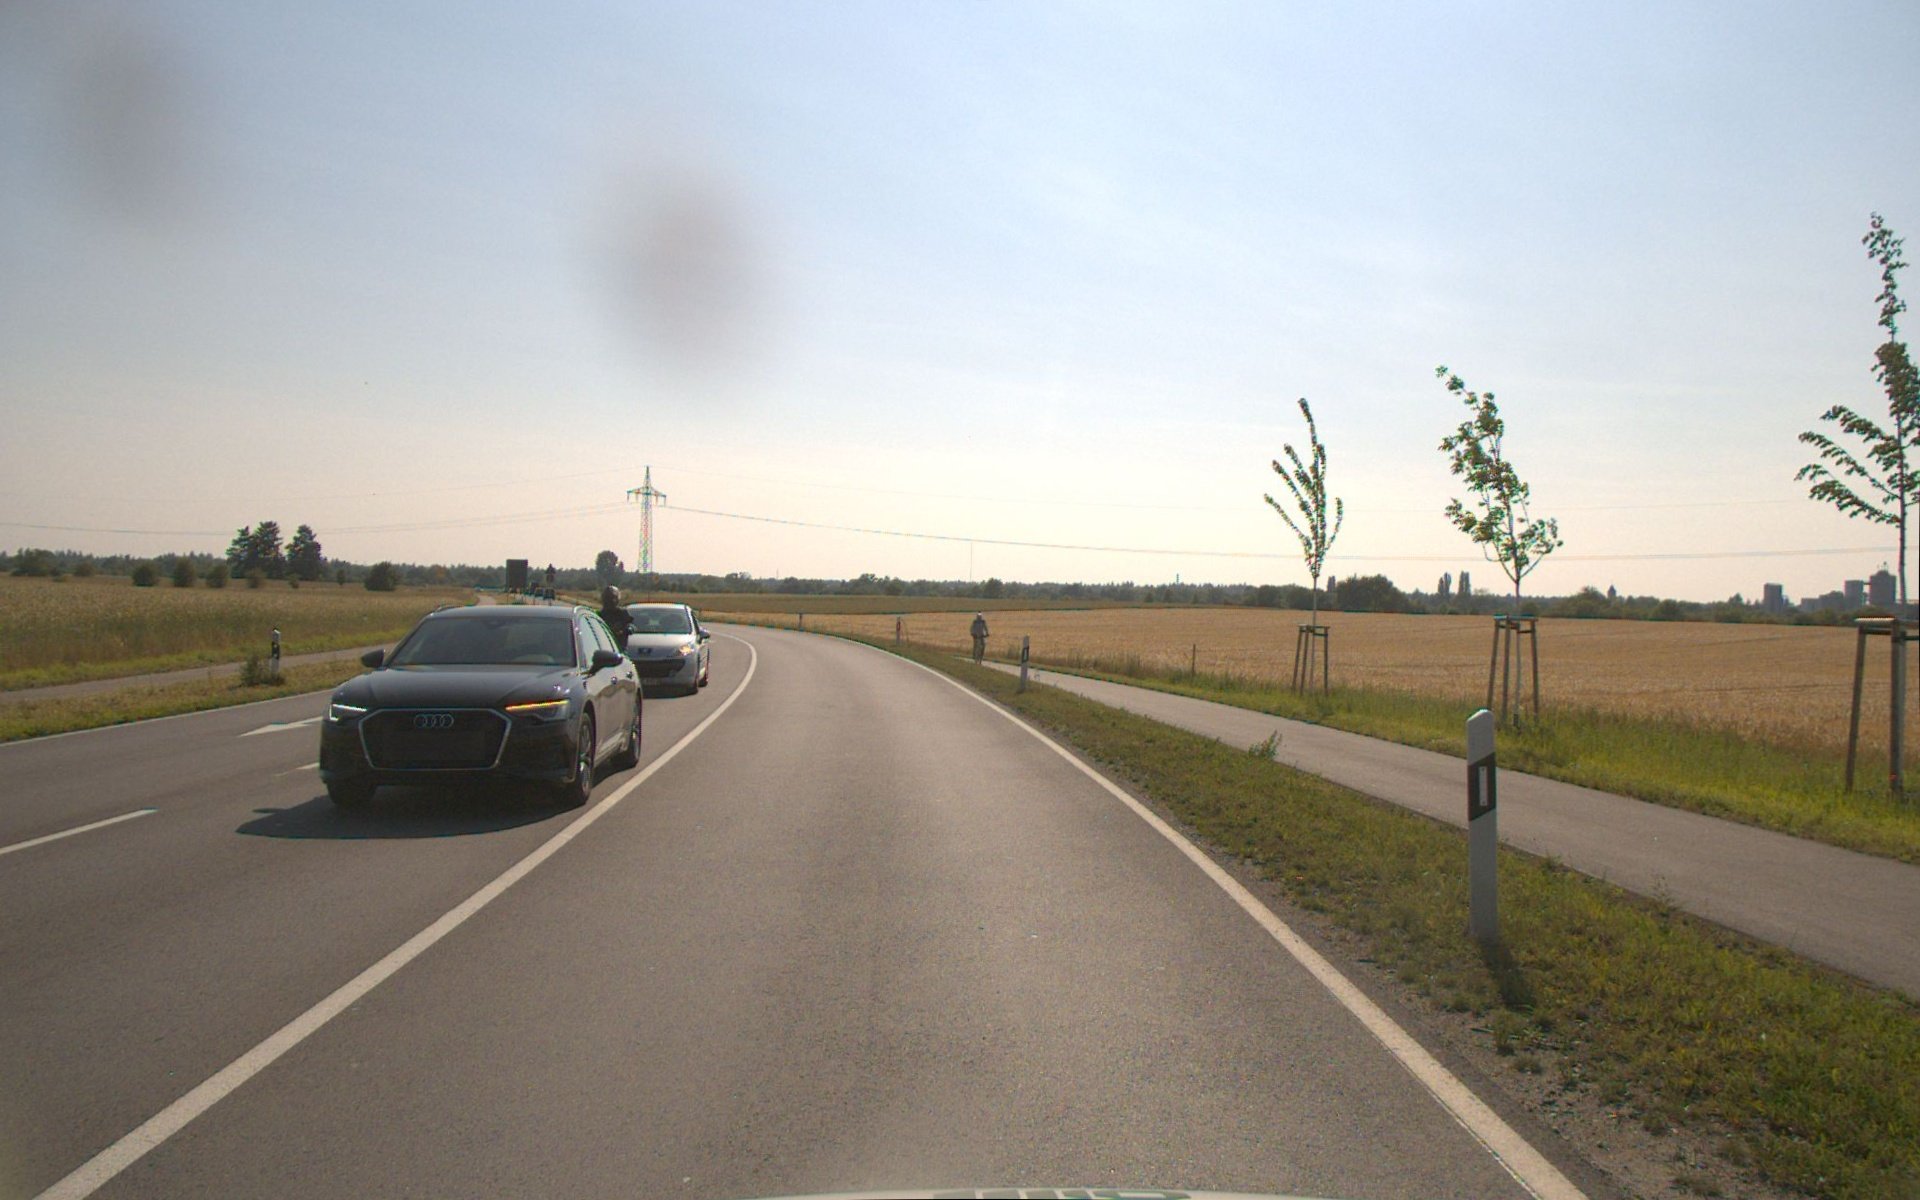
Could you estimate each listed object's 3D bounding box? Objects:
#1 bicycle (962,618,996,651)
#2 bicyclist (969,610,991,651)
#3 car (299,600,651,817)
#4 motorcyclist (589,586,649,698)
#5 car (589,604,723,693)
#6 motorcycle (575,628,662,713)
[{"bbox_3d":[0.704,1.264,61.089,0.830,1.162,2.201,3,-1,-10],"label":"bicycle"},{"bbox_3d":[0.739,1.128,61.125,0.626,1.482,0.815,3,-1,-11],"label":"bicyclist"},{"bbox_3d":[-3.730,0.753,13.618,1.853,1.461,4.791,1,0,-5],"label":"car"},{"bbox_3d":[-4.733,0.574,22.991,0.664,1.521,0.846,1,0,-2],"label":"motorcyclist"},{"bbox_3d":[-5.178,0.785,28.612,1.652,1.428,3.999,0,0,-1],"label":"car"},{"bbox_3d":[-4.740,0.960,23.079,0.853,1.092,1.968,1,0,-2],"label":"motorcycle"}]
